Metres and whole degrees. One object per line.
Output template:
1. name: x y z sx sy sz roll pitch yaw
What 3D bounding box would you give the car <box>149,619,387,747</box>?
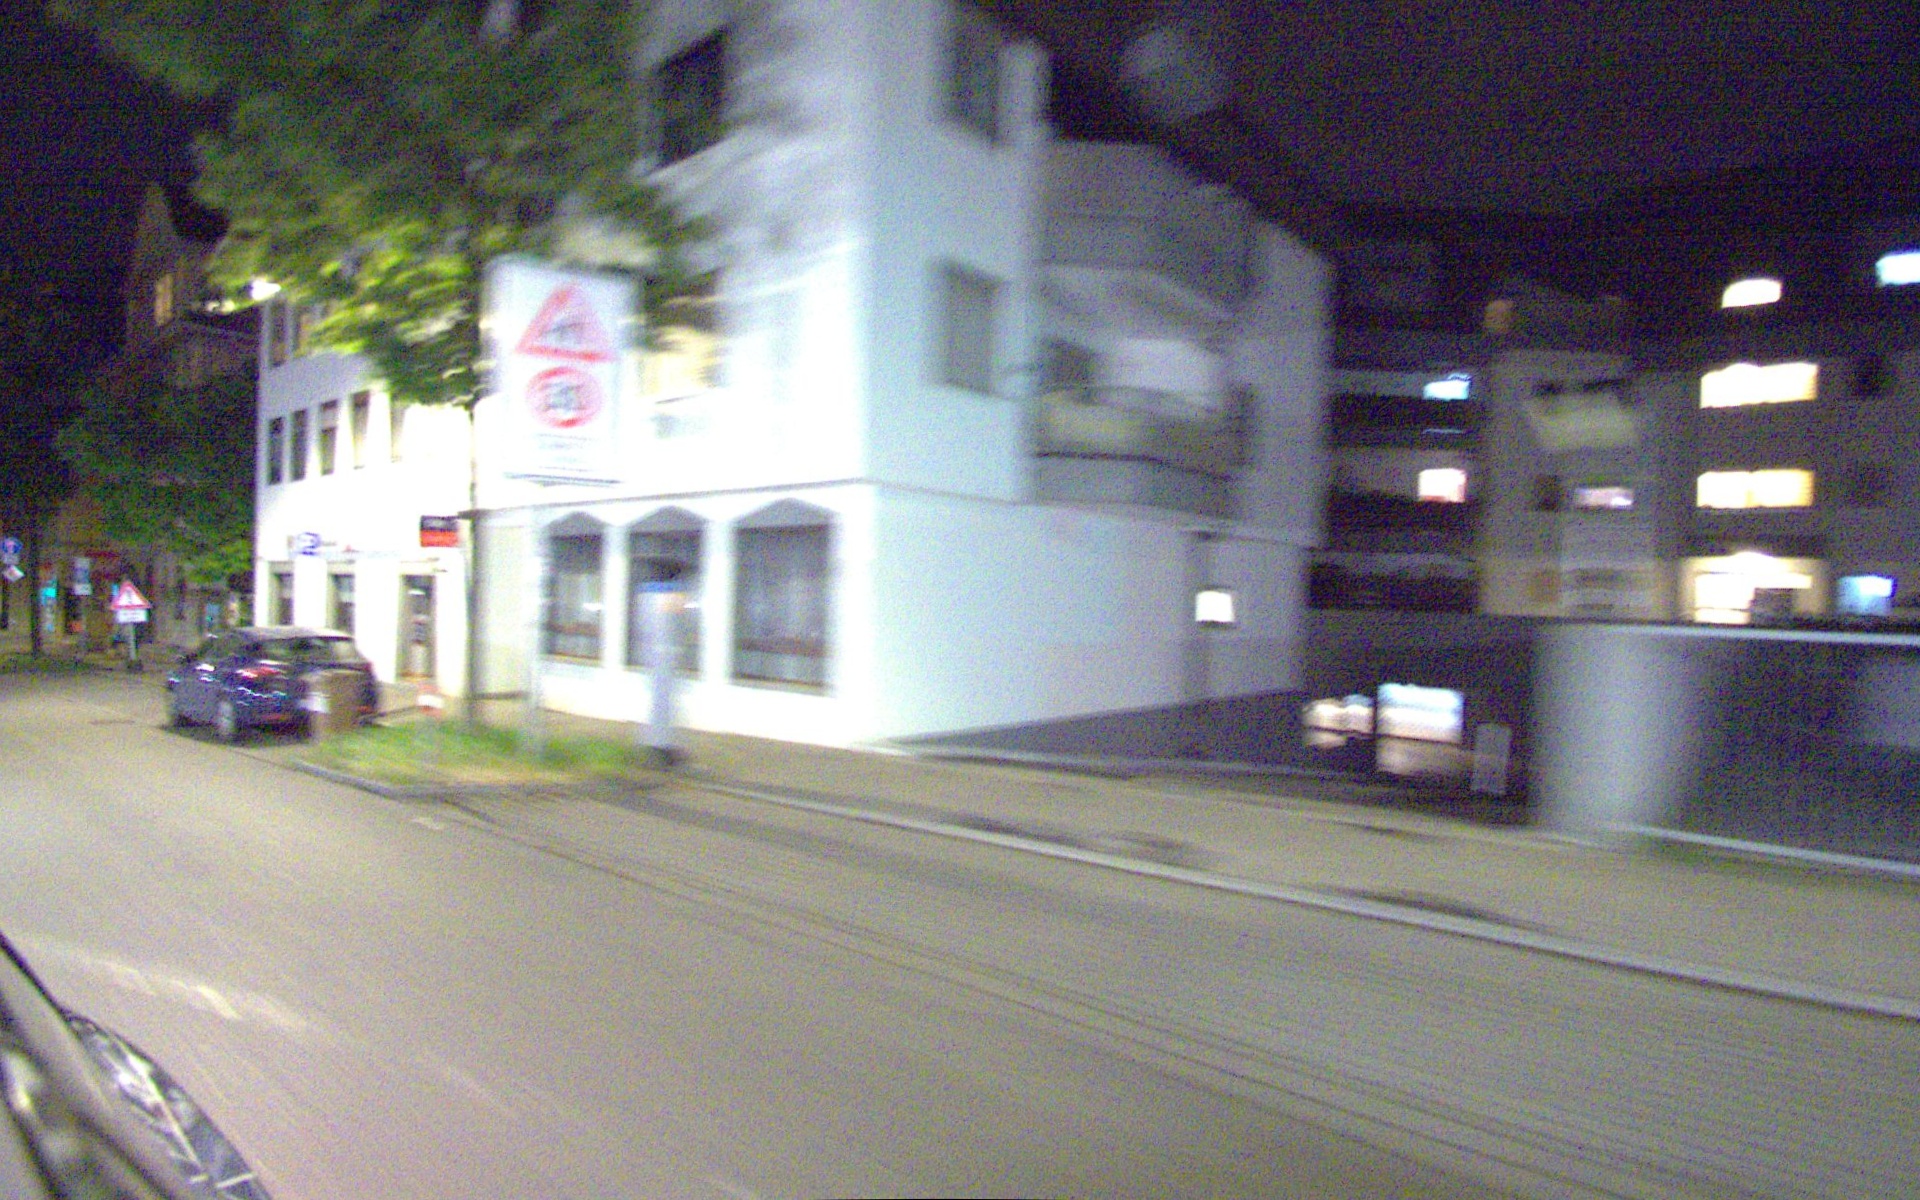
1. car: -9.847 1.040 14.277 4.288 1.497 1.709 -1 0 40
